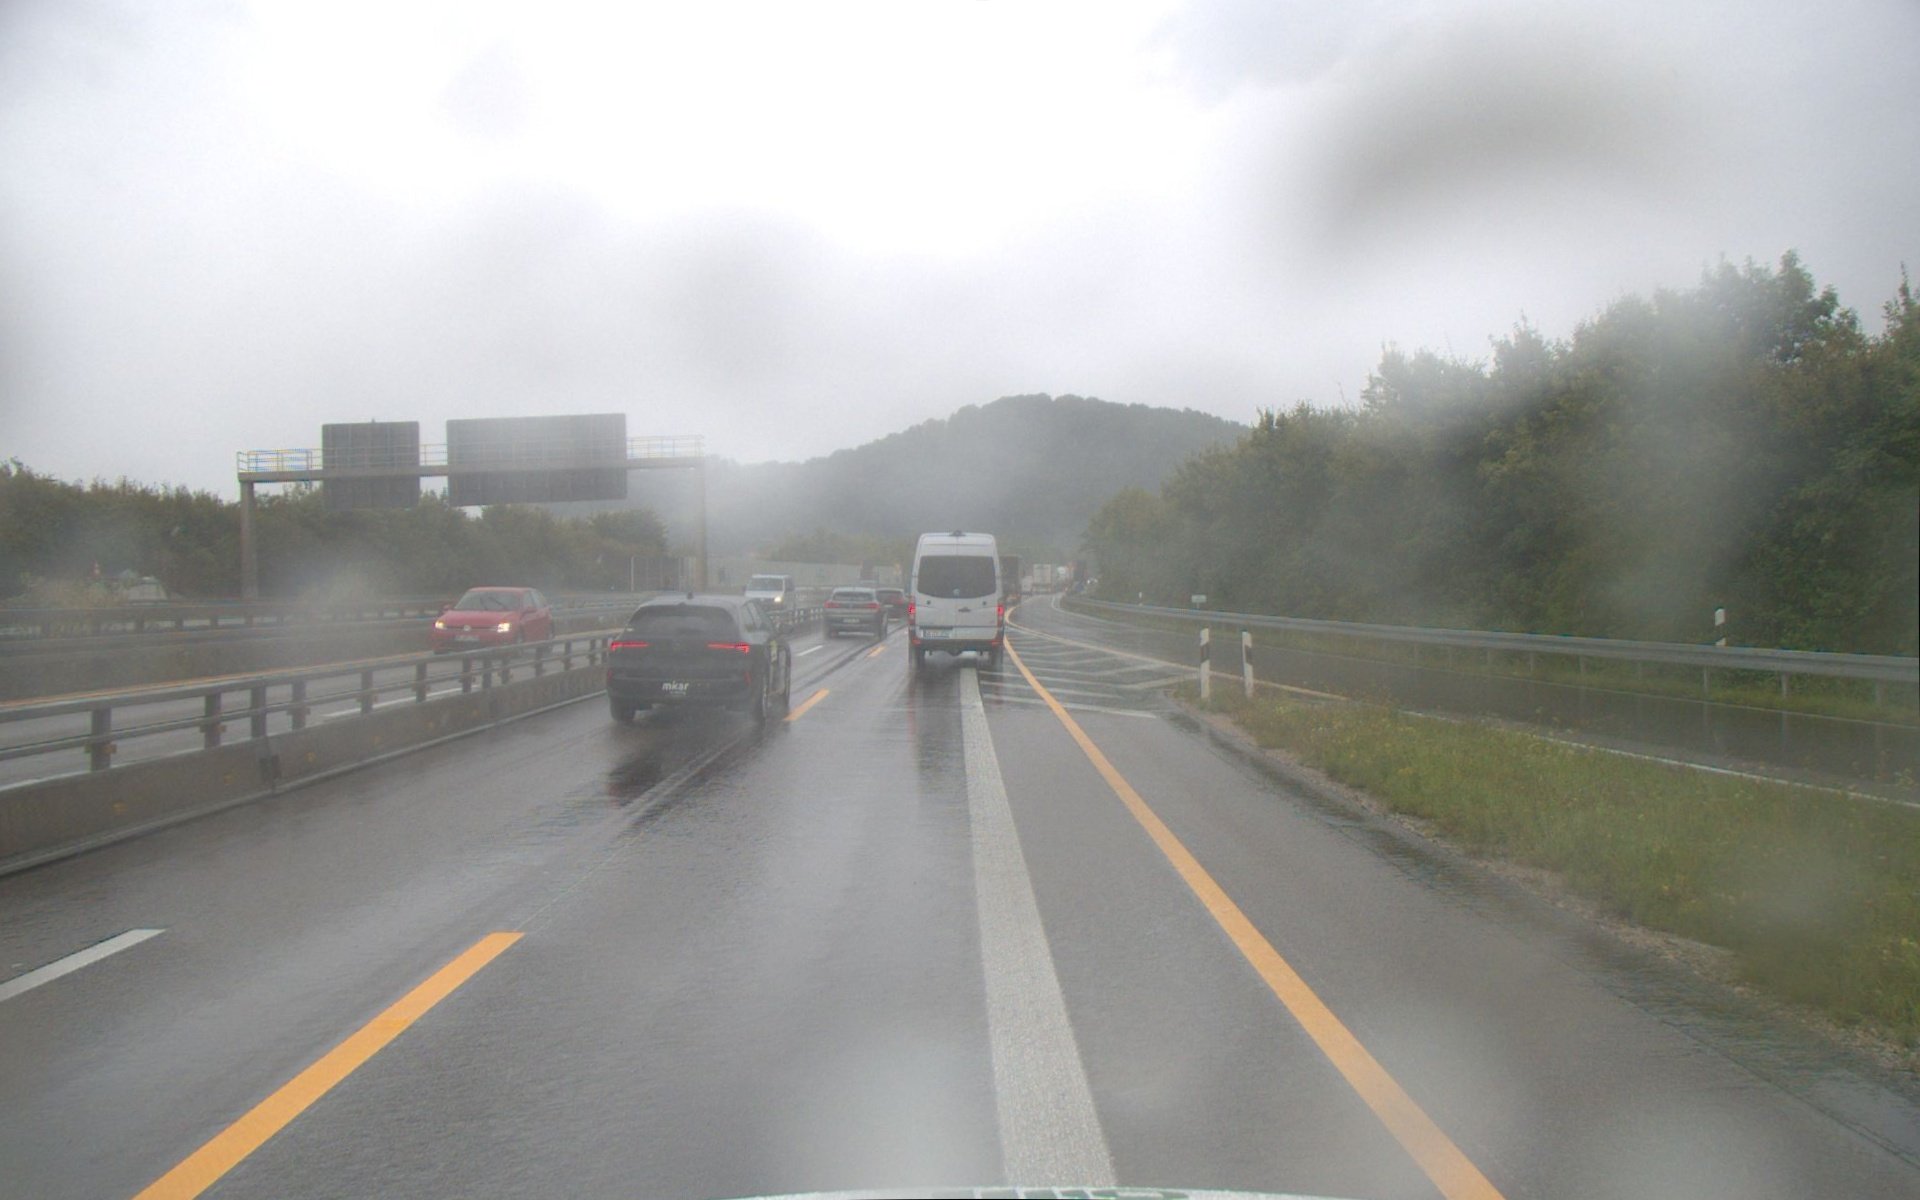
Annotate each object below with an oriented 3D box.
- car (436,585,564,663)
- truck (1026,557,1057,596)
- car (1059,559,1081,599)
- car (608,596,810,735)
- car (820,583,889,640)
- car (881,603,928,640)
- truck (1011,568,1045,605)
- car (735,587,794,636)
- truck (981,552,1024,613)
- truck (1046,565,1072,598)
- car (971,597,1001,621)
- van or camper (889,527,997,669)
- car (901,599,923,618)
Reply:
[{"bbox_3d":[-9.759,0.500,35.378,1.575,1.530,4.216,1,0,-1],"label":"car"},{"bbox_3d":[10.945,-3.072,221.911,3.846,4.868,9.911,1,0,4],"label":"truck"},{"bbox_3d":[11.695,-2.195,176.069,2.015,4.265,6.747,0,0,2],"label":"car"},{"bbox_3d":[-2.882,0.699,19.977,1.900,1.452,4.757,1,0,-3],"label":"car"},{"bbox_3d":[-3.220,0.348,51.142,1.829,1.688,3.988,0,0,1],"label":"car"},{"bbox_3d":[-2.376,0.907,71.219,1.814,1.527,4.000,0,0,1],"label":"car"},{"bbox_3d":[7.448,-1.425,182.223,3.253,3.827,9.905,1,0,0],"label":"truck"},{"bbox_3d":[-8.762,0.509,74.700,1.869,2.049,5.828,1,0,1],"label":"car"},{"bbox_3d":[3.526,-1.425,139.625,3.253,4.868,9.905,1,0,0],"label":"truck"},{"bbox_3d":[15.603,-2.885,260.343,3.846,4.868,9.911,1,0,4],"label":"truck"},{"bbox_3d":[1.425,0.497,91.548,1.357,1.278,3.120,0,0,-4],"label":"car"},{"bbox_3d":[-0.326,-0.038,34.724,2.095,2.769,4.648,0,0,0],"label":"van or camper"},{"bbox_3d":[-2.776,0.480,96.235,1.237,1.097,3.254,0,0,-1],"label":"car"}]
